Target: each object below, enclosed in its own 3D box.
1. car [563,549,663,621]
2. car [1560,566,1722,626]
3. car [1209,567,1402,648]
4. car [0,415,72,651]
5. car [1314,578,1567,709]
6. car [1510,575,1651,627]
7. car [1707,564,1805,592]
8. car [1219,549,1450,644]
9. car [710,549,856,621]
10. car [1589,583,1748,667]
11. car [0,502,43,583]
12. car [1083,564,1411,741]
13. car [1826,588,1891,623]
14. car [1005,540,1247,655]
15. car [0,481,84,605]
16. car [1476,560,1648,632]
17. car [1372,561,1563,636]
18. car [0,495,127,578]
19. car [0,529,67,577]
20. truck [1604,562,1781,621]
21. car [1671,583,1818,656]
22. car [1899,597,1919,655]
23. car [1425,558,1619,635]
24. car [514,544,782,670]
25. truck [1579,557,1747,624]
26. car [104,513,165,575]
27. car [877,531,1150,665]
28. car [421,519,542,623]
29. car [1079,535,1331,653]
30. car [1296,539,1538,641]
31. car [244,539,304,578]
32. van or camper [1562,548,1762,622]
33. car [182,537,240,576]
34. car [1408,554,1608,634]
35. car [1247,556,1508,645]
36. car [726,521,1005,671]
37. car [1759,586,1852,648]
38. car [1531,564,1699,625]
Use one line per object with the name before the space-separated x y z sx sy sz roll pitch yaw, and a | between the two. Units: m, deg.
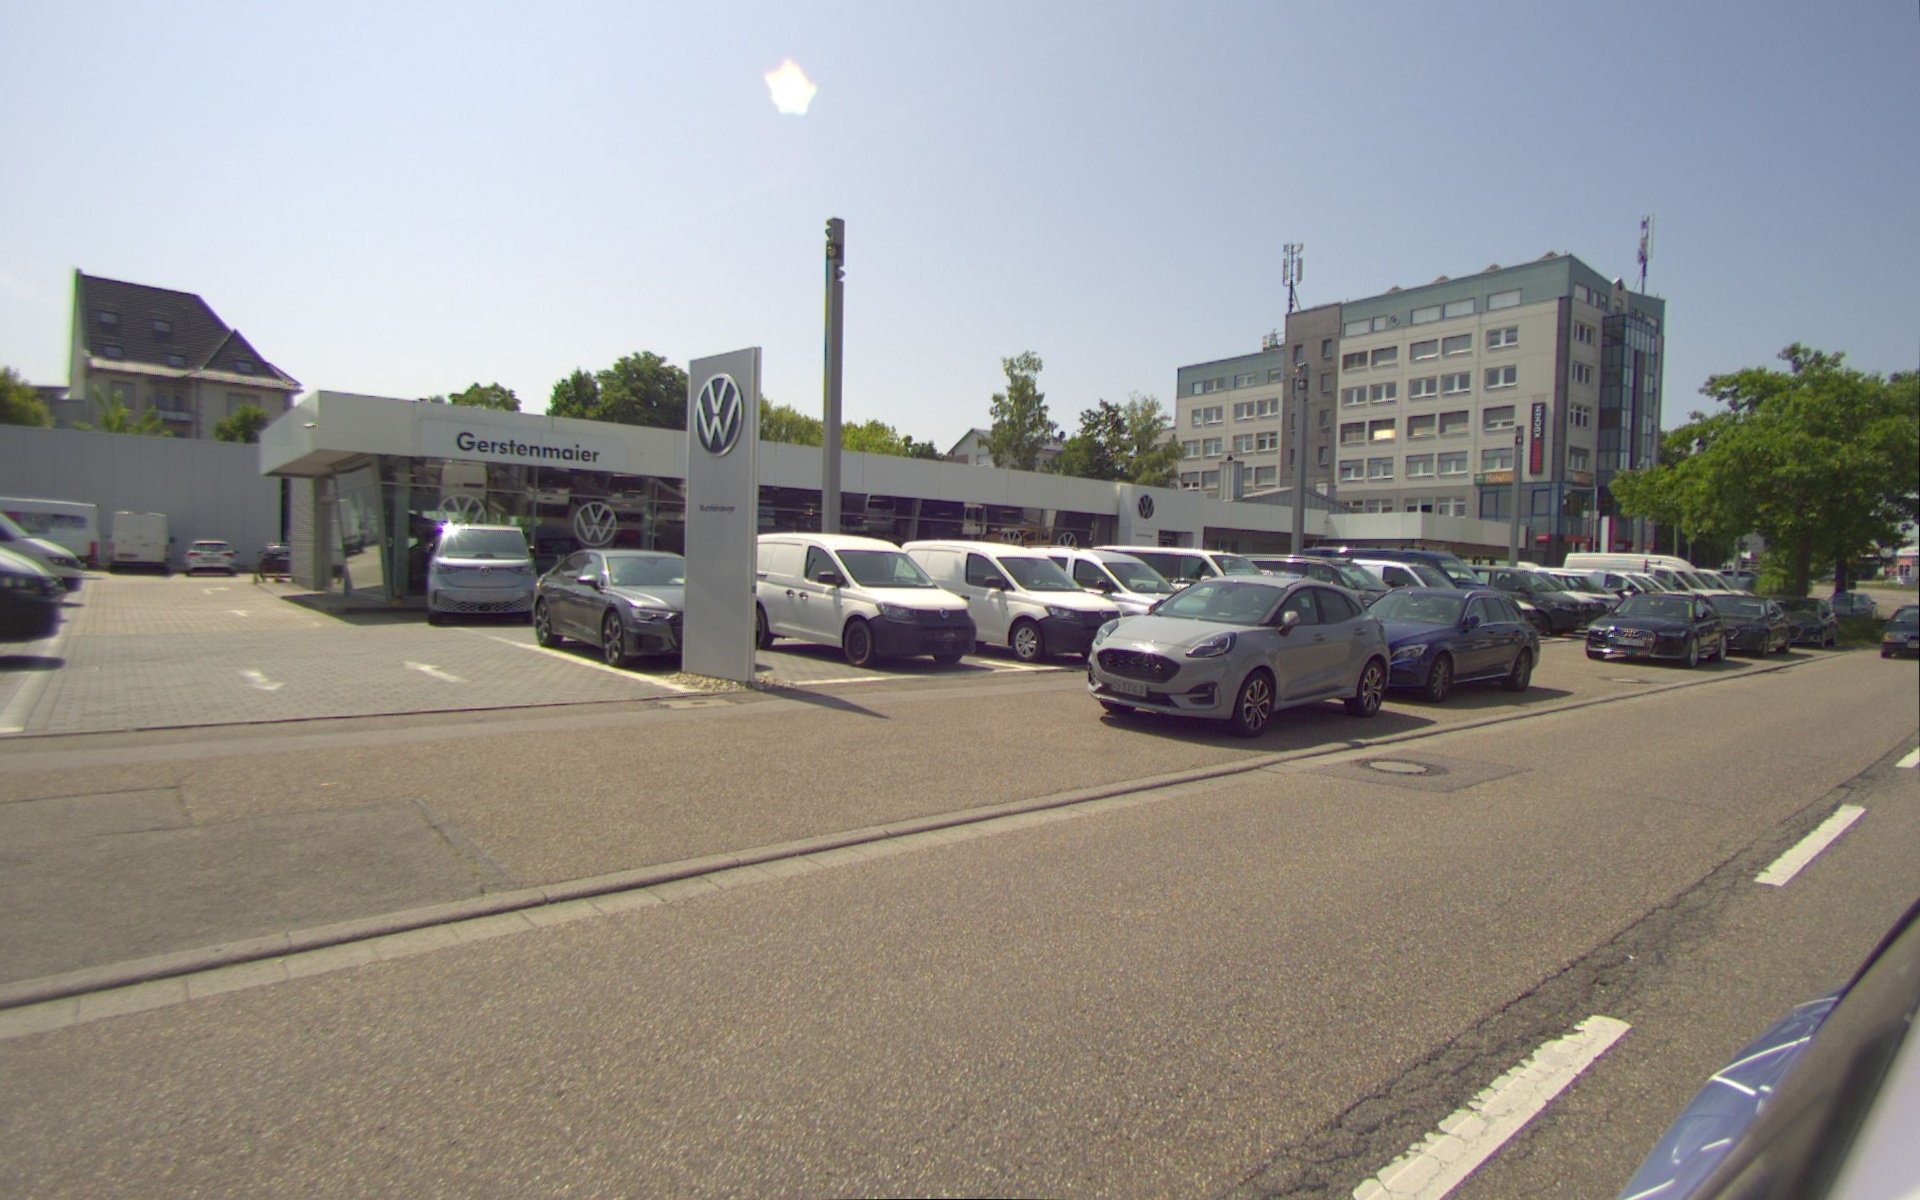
car | -7.586 -0.368 21.957 1.550 1.430 3.441 1 2 -27
car | 26.923 -0.209 40.151 2.122 2.139 4.957 0 2 -42
car | 7.334 0.107 21.761 1.684 1.590 3.642 0 1 -35
car | -13.894 -0.823 10.560 6.894 2.708 2.261 0 2 -41
car | 7.115 0.488 14.733 4.711 1.567 1.716 -1 3 -43
car | 22.695 0.004 37.082 4.025 1.488 1.884 7 4 43
car | 52.502 -1.466 66.864 4.689 1.734 1.984 0 2 24
car | 8.762 -0.096 24.043 1.968 2.009 4.797 2 -1 -40
car | -4.368 -0.414 24.555 1.825 1.590 3.998 0 2 -38
car | 15.523 0.445 22.056 5.071 1.498 1.857 -1 5 -44
car | -26.026 -1.463 24.750 5.266 2.020 1.746 0 0 -41
car | 3.285 0.443 11.084 1.733 1.572 4.114 2 1 44
car | 40.368 0.205 45.421 4.248 1.423 1.799 -1 1 -43
car | 2.933 -0.163 18.589 1.849 1.802 4.159 -2 5 -41
car | -22.490 -1.255 20.645 6.948 2.587 2.261 0 2 -41
car | 20.651 -0.229 34.868 2.159 2.037 4.522 -2 6 -39
car | 14.785 -0.101 29.711 1.918 1.873 4.577 1 3 -41
car | -32.287 -2.115 33.992 6.543 2.727 1.997 -3 2 -41
car | -30.788 -1.514 31.614 4.301 1.477 1.747 0 2 -41
truck | 34.042 -0.457 47.236 2.326 2.365 6.262 1 3 -39
car | 20.038 0.424 25.767 5.071 1.548 1.965 0 4 -41
car | 25.291 0.637 25.962 1.693 1.390 3.936 1 1 44
car | 18.232 -0.190 33.060 2.005 2.122 5.076 0 4 -41
car | -4.549 -0.015 14.289 1.965 1.464 4.543 0 2 -40
truck | 29.023 -0.466 41.935 2.073 2.465 5.261 0 3 -39
car | -34.986 -2.326 42.923 1.865 2.502 3.996 -2 2 -39
car | 0.739 -0.165 16.756 1.826 1.911 4.563 -2 4 -42
car | -9.707 -0.613 20.432 1.961 1.846 4.386 1 2 -27
car | 4.849 -0.211 20.621 1.927 2.038 4.648 1 3 -42
car | 12.559 -0.332 28.249 2.165 2.555 5.858 -2 2 -38
car | -29.570 -1.763 43.559 1.755 1.593 3.996 -2 2 -39
van or camper | 30.611 -0.737 44.374 2.236 2.933 6.810 0 2 -41
car | -31.843 -1.812 42.986 1.760 1.580 3.833 -2 2 -39
car | 16.730 -0.249 31.114 2.092 2.140 4.910 1 3 -41
car | 10.632 -0.055 26.229 2.220 2.039 5.903 -1 1 -41
car | -1.551 -0.142 15.097 1.876 1.905 4.421 1 2 -41
car | 24.908 0.443 29.941 1.676 1.452 4.386 3 4 35
car | 24.821 -0.279 38.524 2.104 1.995 4.924 -1 4 -40
